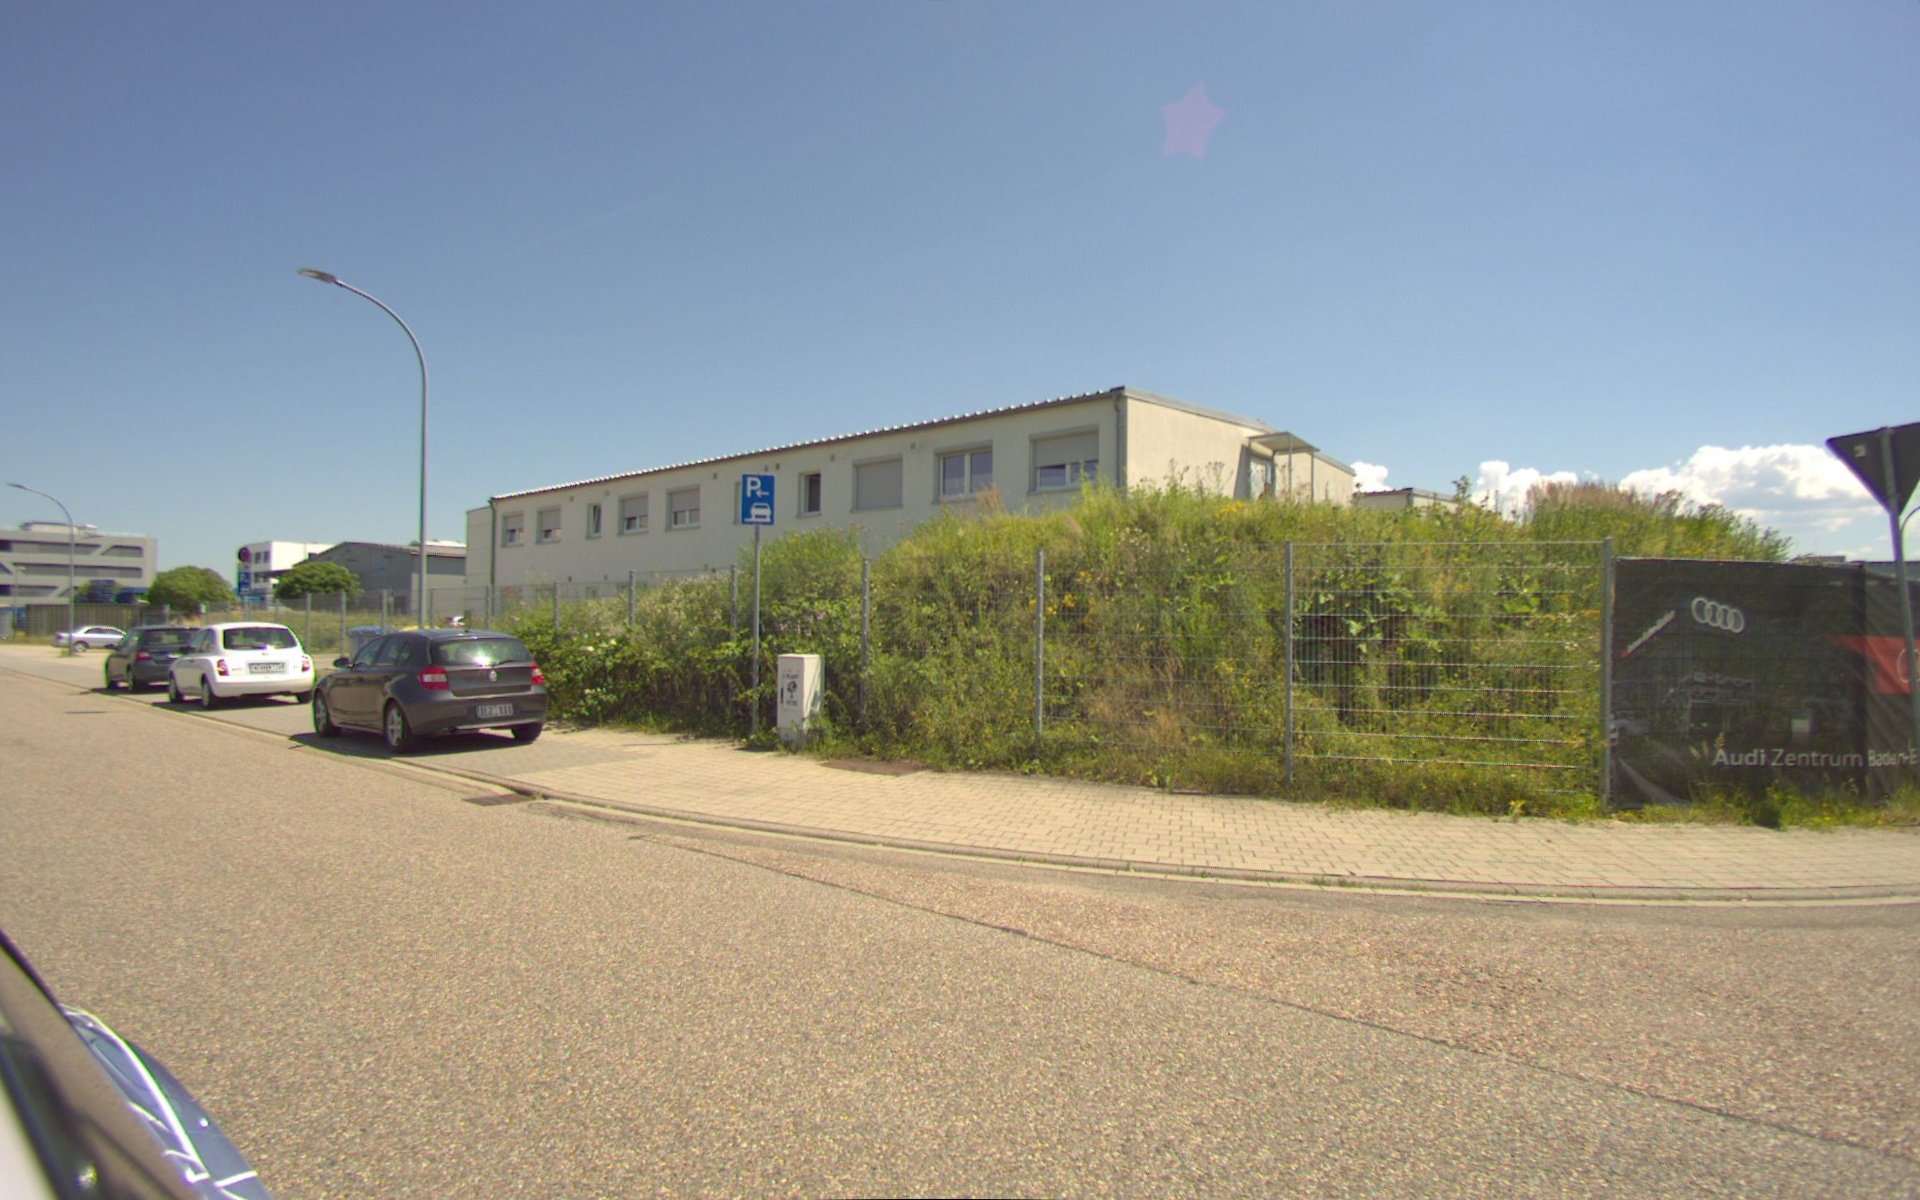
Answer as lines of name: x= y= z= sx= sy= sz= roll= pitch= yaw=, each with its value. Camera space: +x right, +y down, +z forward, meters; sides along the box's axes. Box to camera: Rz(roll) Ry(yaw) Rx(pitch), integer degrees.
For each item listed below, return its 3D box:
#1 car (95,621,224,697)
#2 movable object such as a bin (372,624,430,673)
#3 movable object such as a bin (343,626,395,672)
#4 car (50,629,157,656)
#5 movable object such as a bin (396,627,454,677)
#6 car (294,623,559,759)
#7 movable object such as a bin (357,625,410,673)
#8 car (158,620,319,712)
car: x=-18.507 y=1.290 z=23.356 sx=3.908 sy=1.541 sz=1.656 roll=0 pitch=-1 yaw=41
movable object such as a bin: x=-17.305 y=1.483 z=31.334 sx=1.386 sy=1.459 sz=1.078 roll=0 pitch=-1 yaw=36
movable object such as a bin: x=-19.490 y=1.587 z=33.388 sx=1.434 sy=1.459 sz=1.130 roll=-1 pitch=-1 yaw=44
car: x=-46.620 y=2.288 z=55.144 sx=1.862 sy=1.390 sz=4.201 roll=-1 pitch=-2 yaw=42
movable object such as a bin: x=-16.063 y=1.544 z=30.385 sx=1.388 sy=1.416 sz=1.130 roll=-1 pitch=-1 yaw=44
car: x=-6.915 y=1.043 z=12.944 sx=4.067 sy=1.461 sz=1.656 roll=-2 pitch=-2 yaw=41
movable object such as a bin: x=-18.403 y=1.549 z=32.300 sx=1.371 sy=1.459 sz=1.112 roll=-1 pitch=-1 yaw=44
car: x=-13.724 y=1.160 z=19.170 sx=3.756 sy=1.541 sz=1.656 roll=0 pitch=-1 yaw=41
